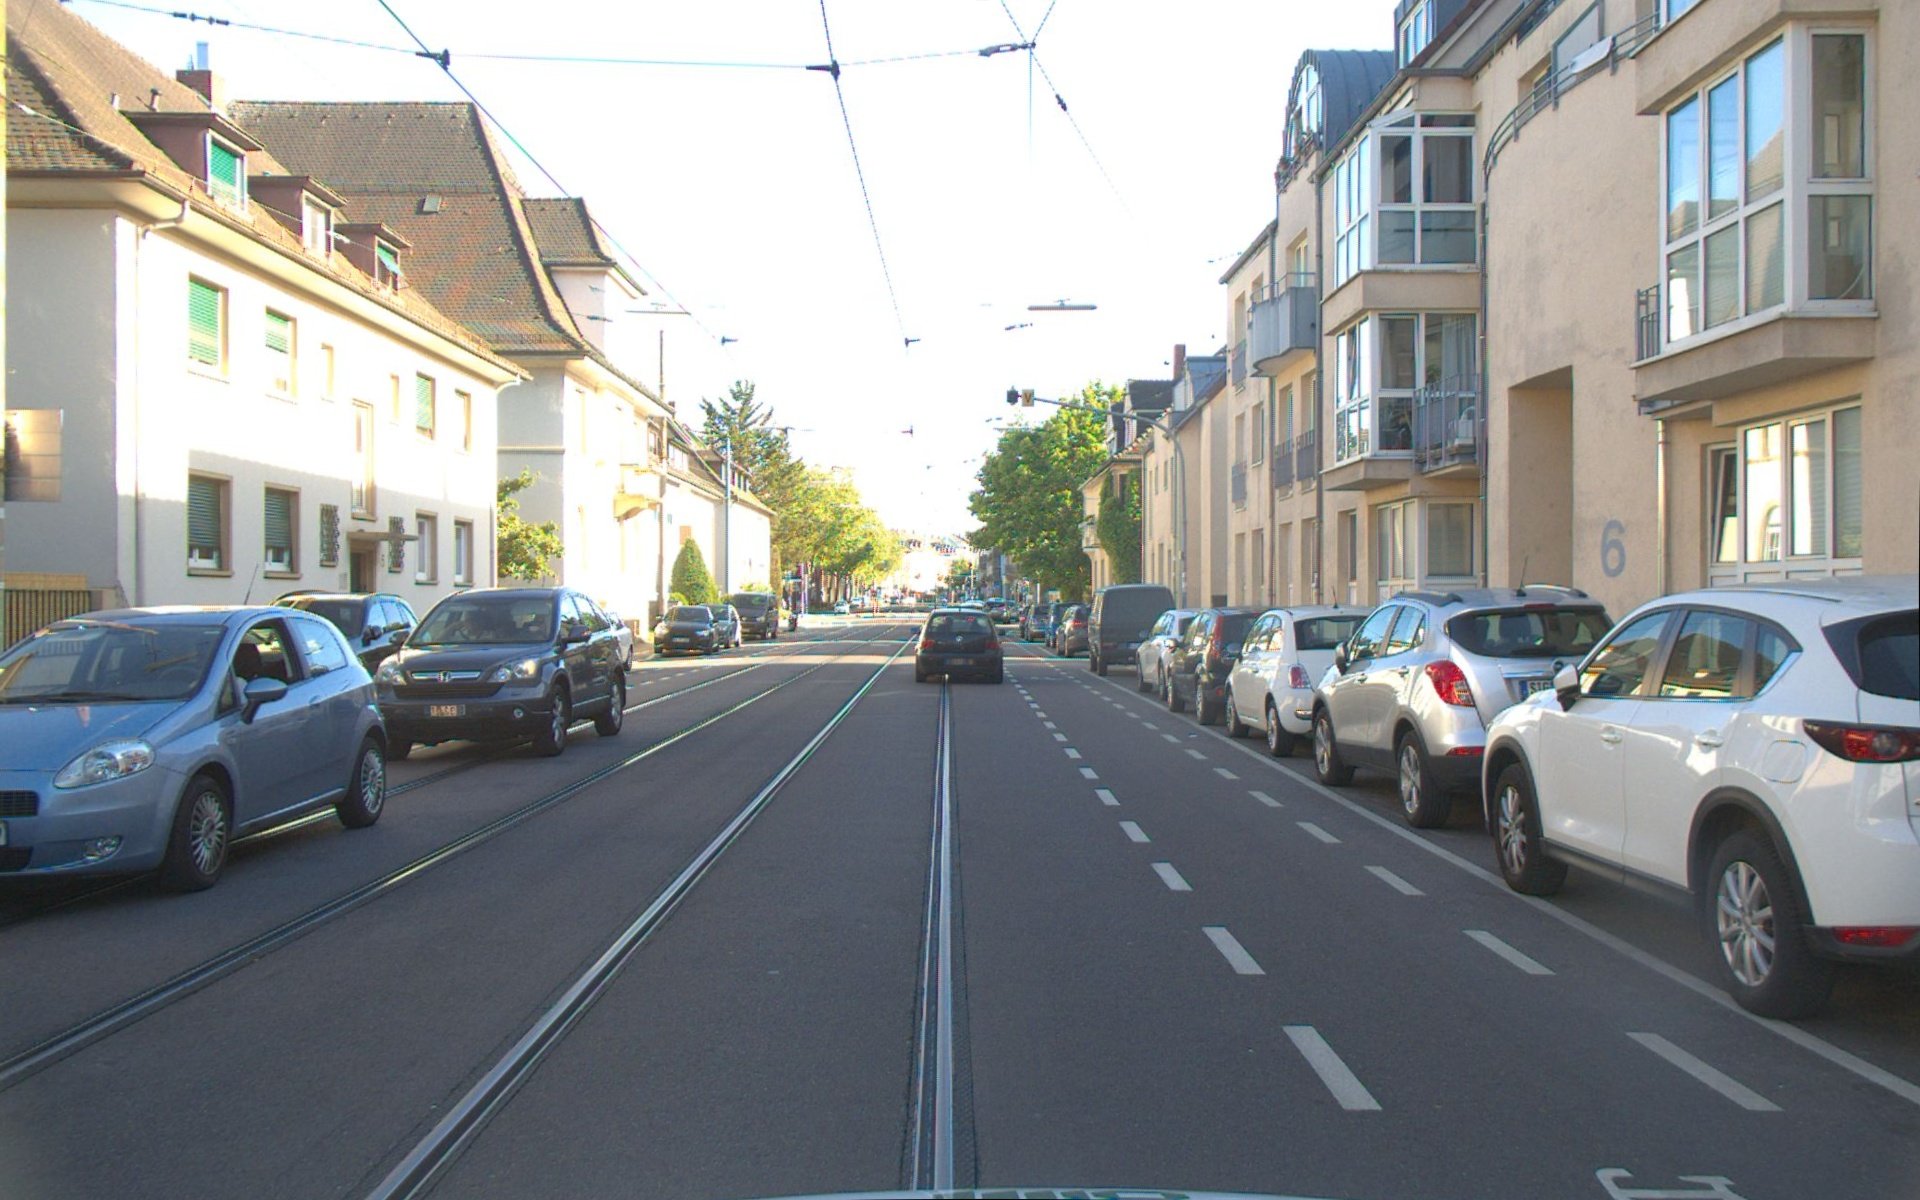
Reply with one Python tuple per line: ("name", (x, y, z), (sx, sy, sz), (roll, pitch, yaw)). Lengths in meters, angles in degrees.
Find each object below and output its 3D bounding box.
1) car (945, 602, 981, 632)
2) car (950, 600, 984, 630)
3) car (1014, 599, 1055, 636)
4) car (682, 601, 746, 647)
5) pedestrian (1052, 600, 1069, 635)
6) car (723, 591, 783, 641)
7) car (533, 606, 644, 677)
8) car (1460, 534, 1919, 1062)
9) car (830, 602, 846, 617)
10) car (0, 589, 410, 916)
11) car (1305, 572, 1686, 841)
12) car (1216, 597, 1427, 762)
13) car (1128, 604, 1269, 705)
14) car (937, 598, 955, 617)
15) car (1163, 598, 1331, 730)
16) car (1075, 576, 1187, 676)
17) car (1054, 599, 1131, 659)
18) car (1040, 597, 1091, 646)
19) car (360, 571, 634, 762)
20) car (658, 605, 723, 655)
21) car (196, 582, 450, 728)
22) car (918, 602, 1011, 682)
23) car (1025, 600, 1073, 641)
("car", (0.149, 0.776, 77.298), (1.601, 1.396, 3.757), (0, 0, 0))
("car", (0.357, 0.763, 85.967), (1.704, 1.466, 3.809), (0, 0, 0))
("car", (3.393, 0.809, 75.703), (1.632, 1.591, 3.770), (2, -1, 0))
("car", (-8.682, 0.824, 58.569), (1.642, 1.503, 3.835), (2, 0, 0))
("pedestrian", (4.931, 0.851, 81.042), (0.703, 1.717, 0.870), (-1, 0, -2))
("car", (-9.034, 0.692, 72.478), (1.867, 2.049, 4.949), (2, 0, 1))
("car", (-8.336, 0.895, 37.408), (1.598, 1.483, 4.015), (-1, 0, 0))
("car", (3.862, 0.694, 7.733), (1.704, 1.777, 4.255), (2, 0, 0))
("car", (-12.292, 0.925, 166.679), (1.545, 1.503, 3.436), (-1, 0, -6))
("car", (-4.668, 0.719, 9.603), (1.584, 1.486, 4.074), (-1, 0, 0))
("car", (3.968, 0.710, 12.946), (1.570, 1.729, 3.988), (2, 0, -1))
("car", (3.843, 0.790, 18.059), (1.466, 1.584, 3.364), (2, 0, -1))
("car", (3.932, 0.851, 27.889), (1.643, 1.517, 4.171), (2, 0, -1))
("car", (-1.533, 0.824, 181.252), (1.751, 1.892, 3.998), (3, 0, -2))
("car", (3.771, 0.791, 22.267), (1.522, 1.584, 3.651), (2, 0, -1))
("car", (3.752, 0.545, 37.032), (1.867, 2.022, 4.561), (2, 0, -1))
("car", (3.848, 0.828, 48.829), (1.709, 1.627, 4.431), (2, 0, -2))
("car", (3.721, 0.749, 58.673), (1.428, 1.627, 3.292), (2, 0, -2))
("car", (-4.710, 0.623, 17.473), (1.669, 1.734, 4.363), (-1, 0, 0))
("car", (-8.402, 0.908, 51.819), (1.630, 1.503, 4.247), (0, 0, -4))
("car", (-8.419, 0.679, 22.321), (1.726, 1.734, 4.554), (-1, 0, -1))
("car", (0.080, 0.777, 32.497), (1.681, 1.427, 4.005), (1, 0, 0))
("car", (3.597, 0.810, 67.062), (1.569, 1.552, 3.547), (2, 0, -2))
